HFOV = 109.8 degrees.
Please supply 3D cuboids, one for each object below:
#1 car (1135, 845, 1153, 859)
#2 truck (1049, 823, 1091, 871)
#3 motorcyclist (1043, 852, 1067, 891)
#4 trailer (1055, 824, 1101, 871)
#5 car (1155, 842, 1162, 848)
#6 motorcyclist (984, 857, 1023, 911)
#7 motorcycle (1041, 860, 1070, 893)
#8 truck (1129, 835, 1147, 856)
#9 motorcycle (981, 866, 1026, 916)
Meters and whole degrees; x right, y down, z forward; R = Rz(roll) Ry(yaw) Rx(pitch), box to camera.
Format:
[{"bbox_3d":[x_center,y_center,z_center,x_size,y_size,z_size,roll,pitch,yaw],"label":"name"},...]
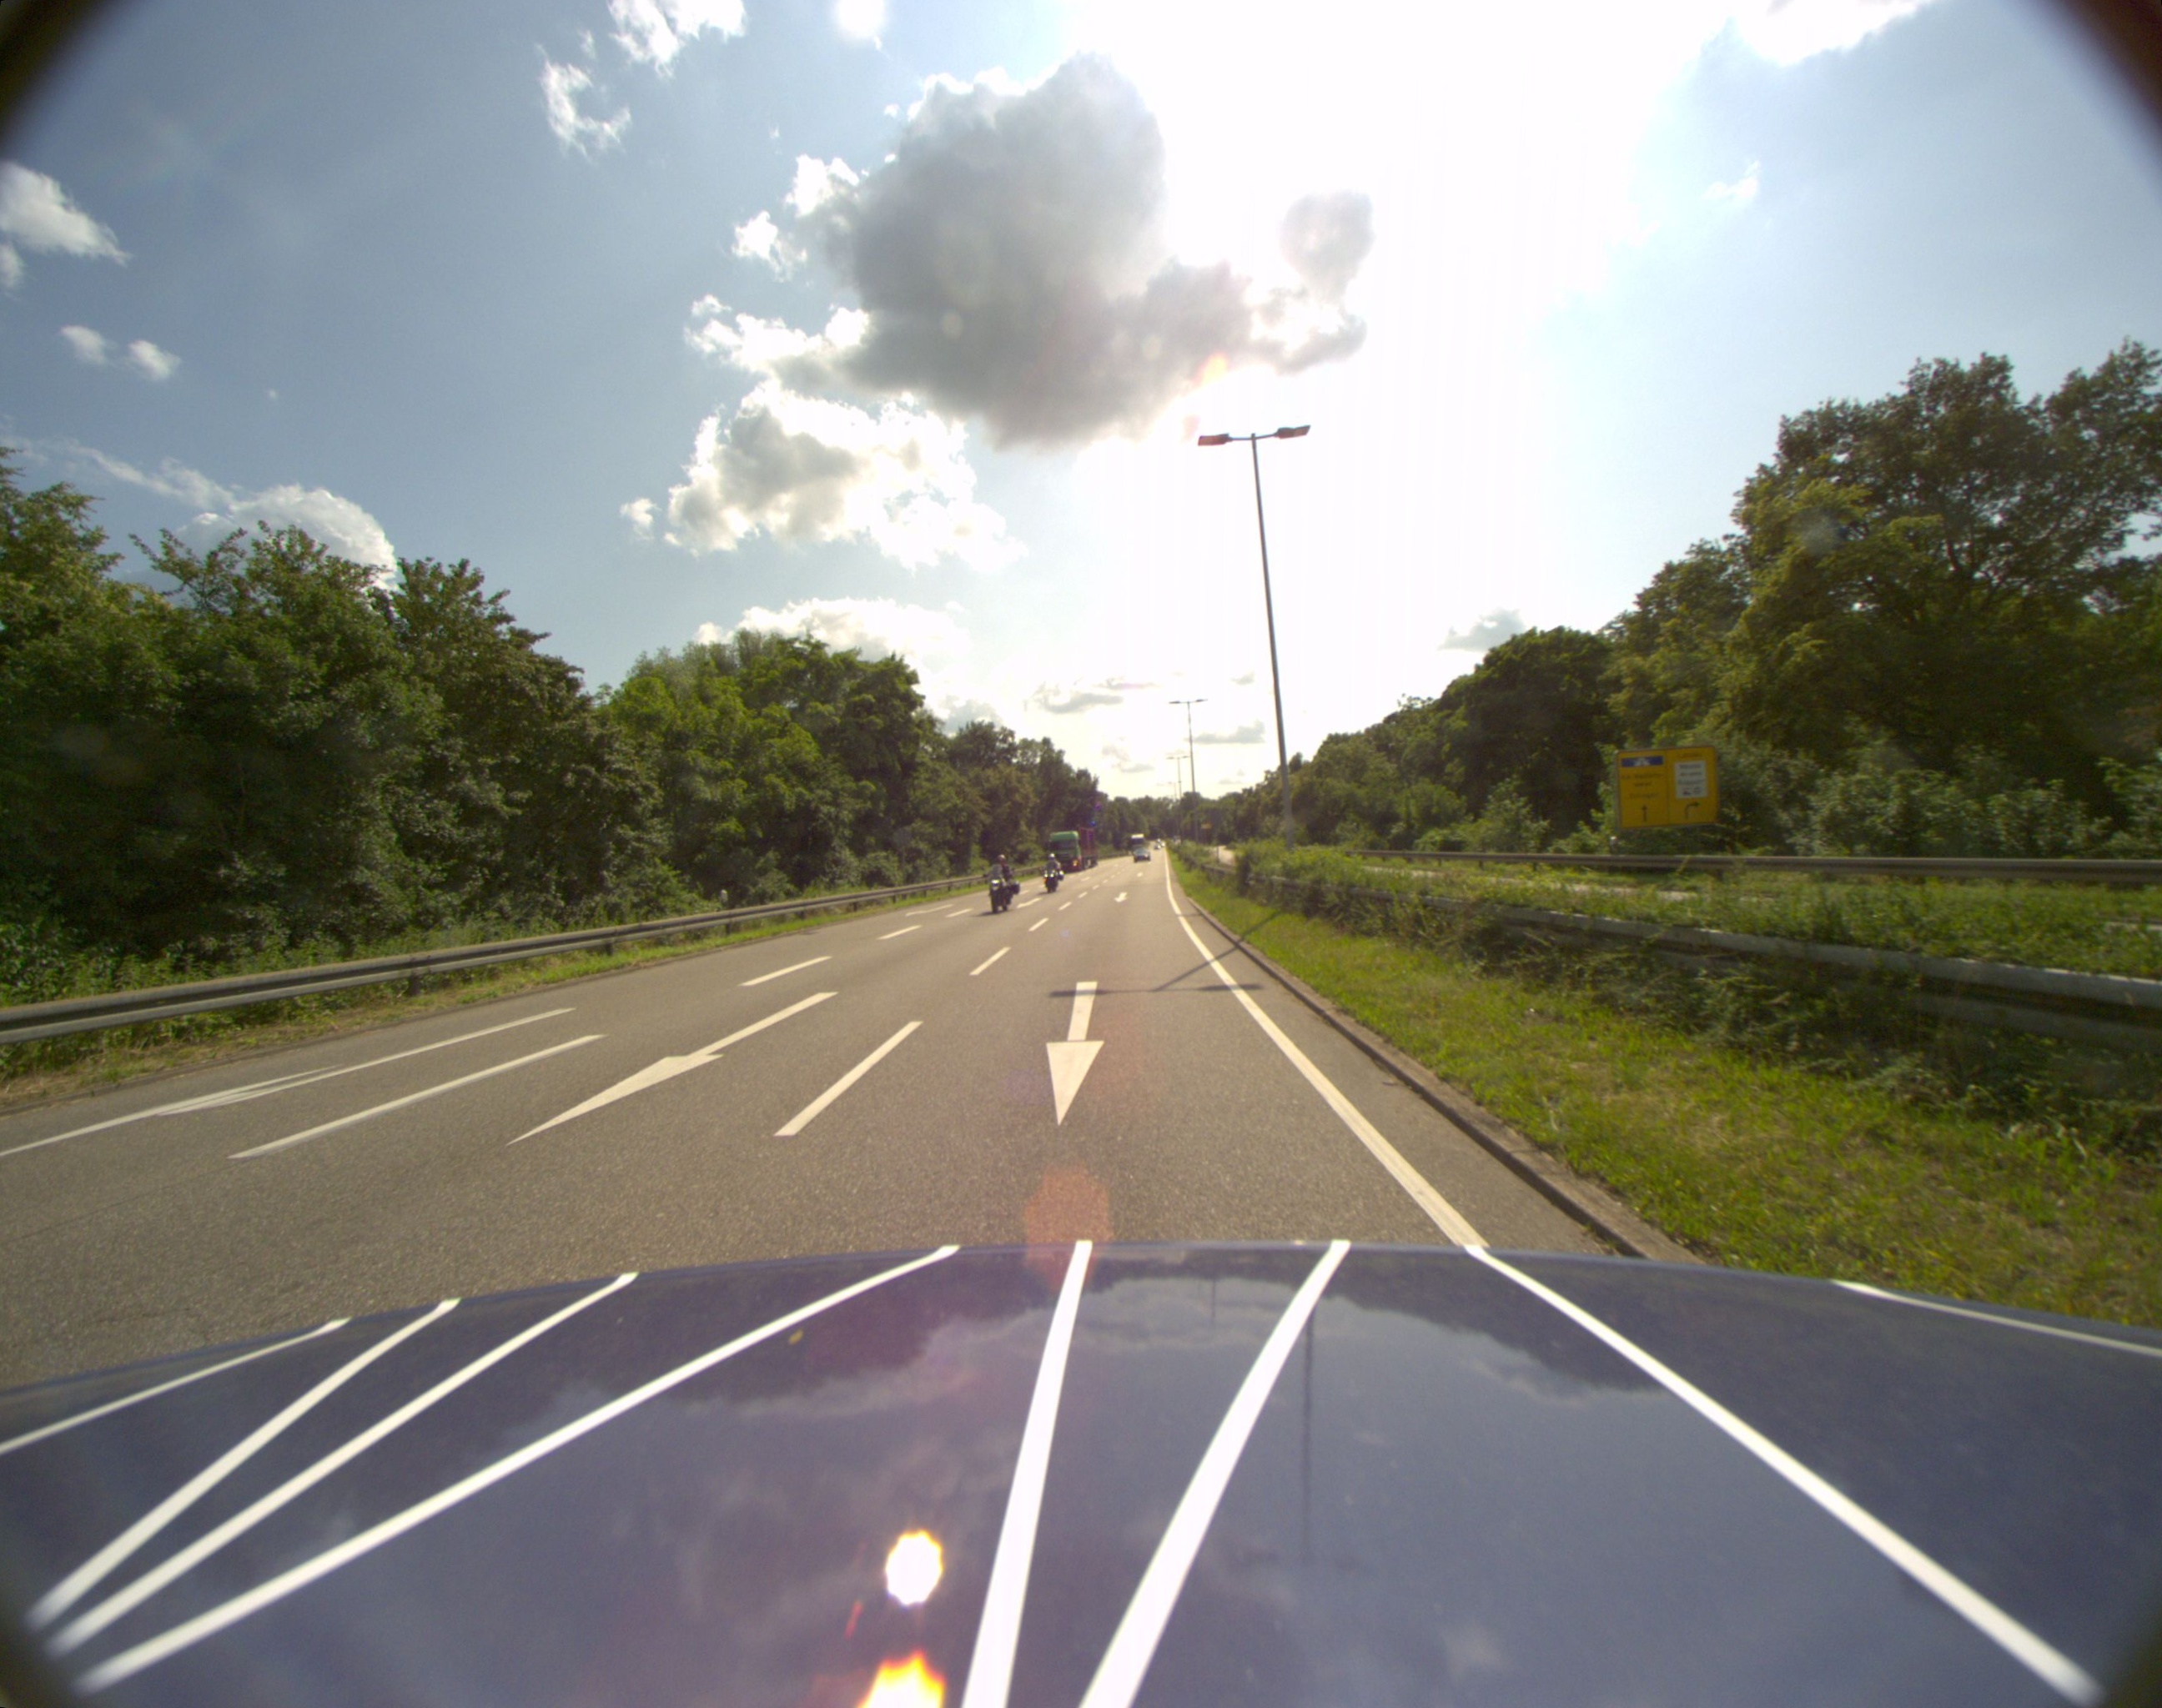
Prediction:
[{"bbox_3d":[7.051,-0.201,84.253,1.735,1.468,4.049,-3,0,7],"label":"car"},{"bbox_3d":[-0.876,-0.576,67.049,2.590,3.871,6.064,-5,0,7],"label":"truck"},{"bbox_3d":[-1.150,0.780,33.802,0.867,1.690,0.895,-3,0,6],"label":"motorcyclist"},{"bbox_3d":[-0.084,-0.599,74.069,2.590,3.871,14.507,-5,0,6],"label":"trailer"},{"bbox_3d":[22.972,-2.662,225.077,1.796,1.368,4.002,-3,0,7],"label":"car"},{"bbox_3d":[-2.350,0.900,23.275,0.939,1.581,1.083,-3,0,4],"label":"motorcyclist"},{"bbox_3d":[-1.124,0.967,33.949,0.867,1.381,2.371,-3,0,6],"label":"motorcycle"},{"bbox_3d":[11.555,-1.631,153.067,2.689,3.948,7.387,-5,0,8],"label":"truck"},{"bbox_3d":[-2.336,1.095,23.242,0.939,1.375,2.370,-3,0,4],"label":"motorcycle"}]
